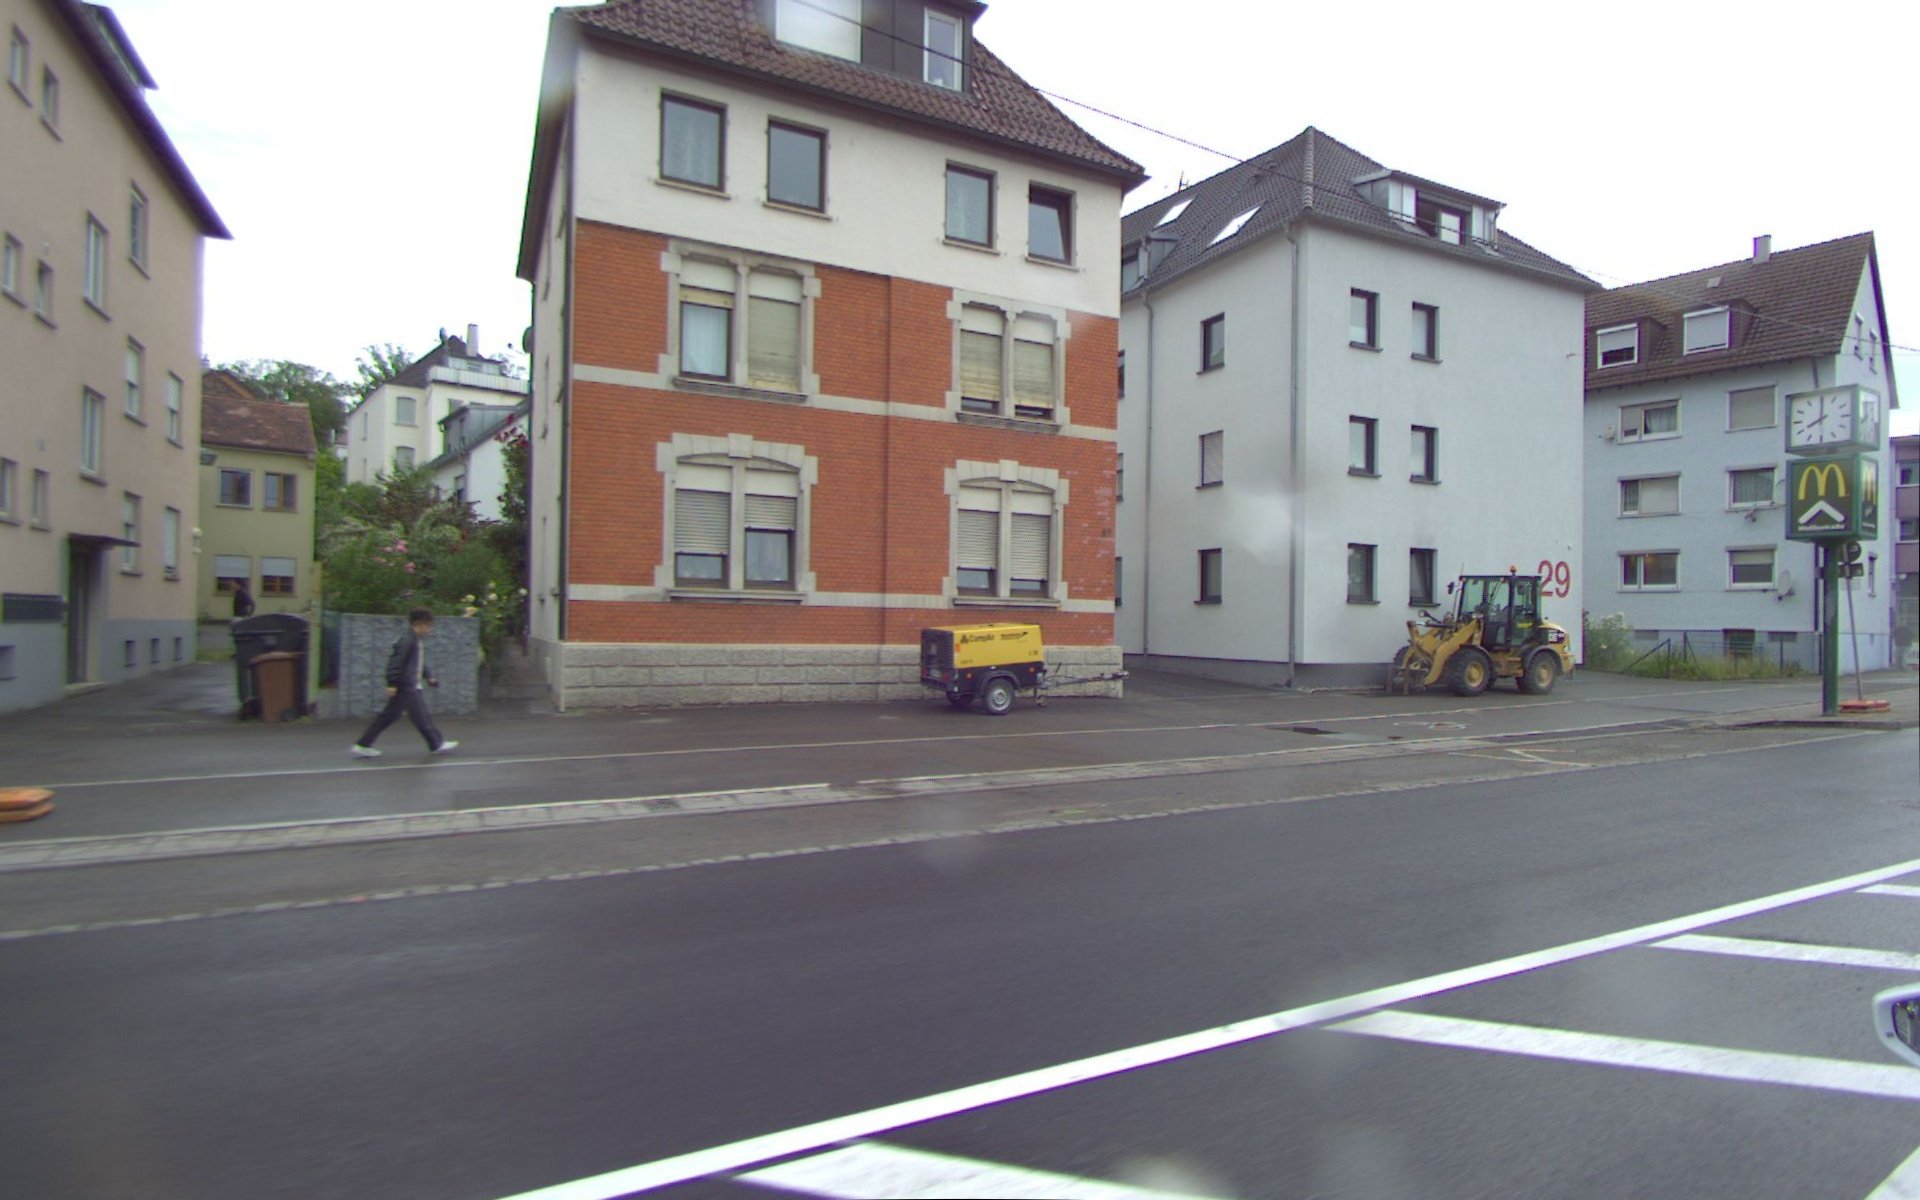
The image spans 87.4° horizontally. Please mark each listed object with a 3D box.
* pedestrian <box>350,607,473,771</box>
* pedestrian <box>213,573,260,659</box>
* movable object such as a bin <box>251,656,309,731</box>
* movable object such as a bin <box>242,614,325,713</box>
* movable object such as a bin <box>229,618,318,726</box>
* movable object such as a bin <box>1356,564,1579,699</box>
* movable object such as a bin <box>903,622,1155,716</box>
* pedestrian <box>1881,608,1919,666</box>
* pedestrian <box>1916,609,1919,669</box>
[{"bbox_3d":[-5.800,0.897,10.667,1.078,1.610,0.761,-2,1,-28],"label":"pedestrian"},{"bbox_3d":[-17.521,0.378,24.334,0.782,2.041,0.813,-2,1,-30],"label":"pedestrian"},{"bbox_3d":[-9.135,1.245,13.512,0.568,0.910,0.631,-2,1,-30],"label":"movable object such as a bin"},{"bbox_3d":[-10.475,0.952,15.600,0.946,1.430,1.079,-2,1,-30],"label":"movable object such as a bin"},{"bbox_3d":[-9.682,0.985,14.207,0.946,1.430,0.849,-2,1,-30],"label":"movable object such as a bin"},{"bbox_3d":[11.220,0.599,22.208,4.563,2.719,1.988,-1,1,-24],"label":"movable object such as a bin"},{"bbox_3d":[1.173,1.108,16.626,3.951,1.373,1.547,2,-1,-29],"label":"movable object such as a bin"},{"bbox_3d":[34.223,1.331,36.481,1.044,2.041,1.069,-2,1,-43],"label":"pedestrian"},{"bbox_3d":[33.869,1.344,34.692,1.045,2.041,1.194,-2,1,-45],"label":"pedestrian"}]
